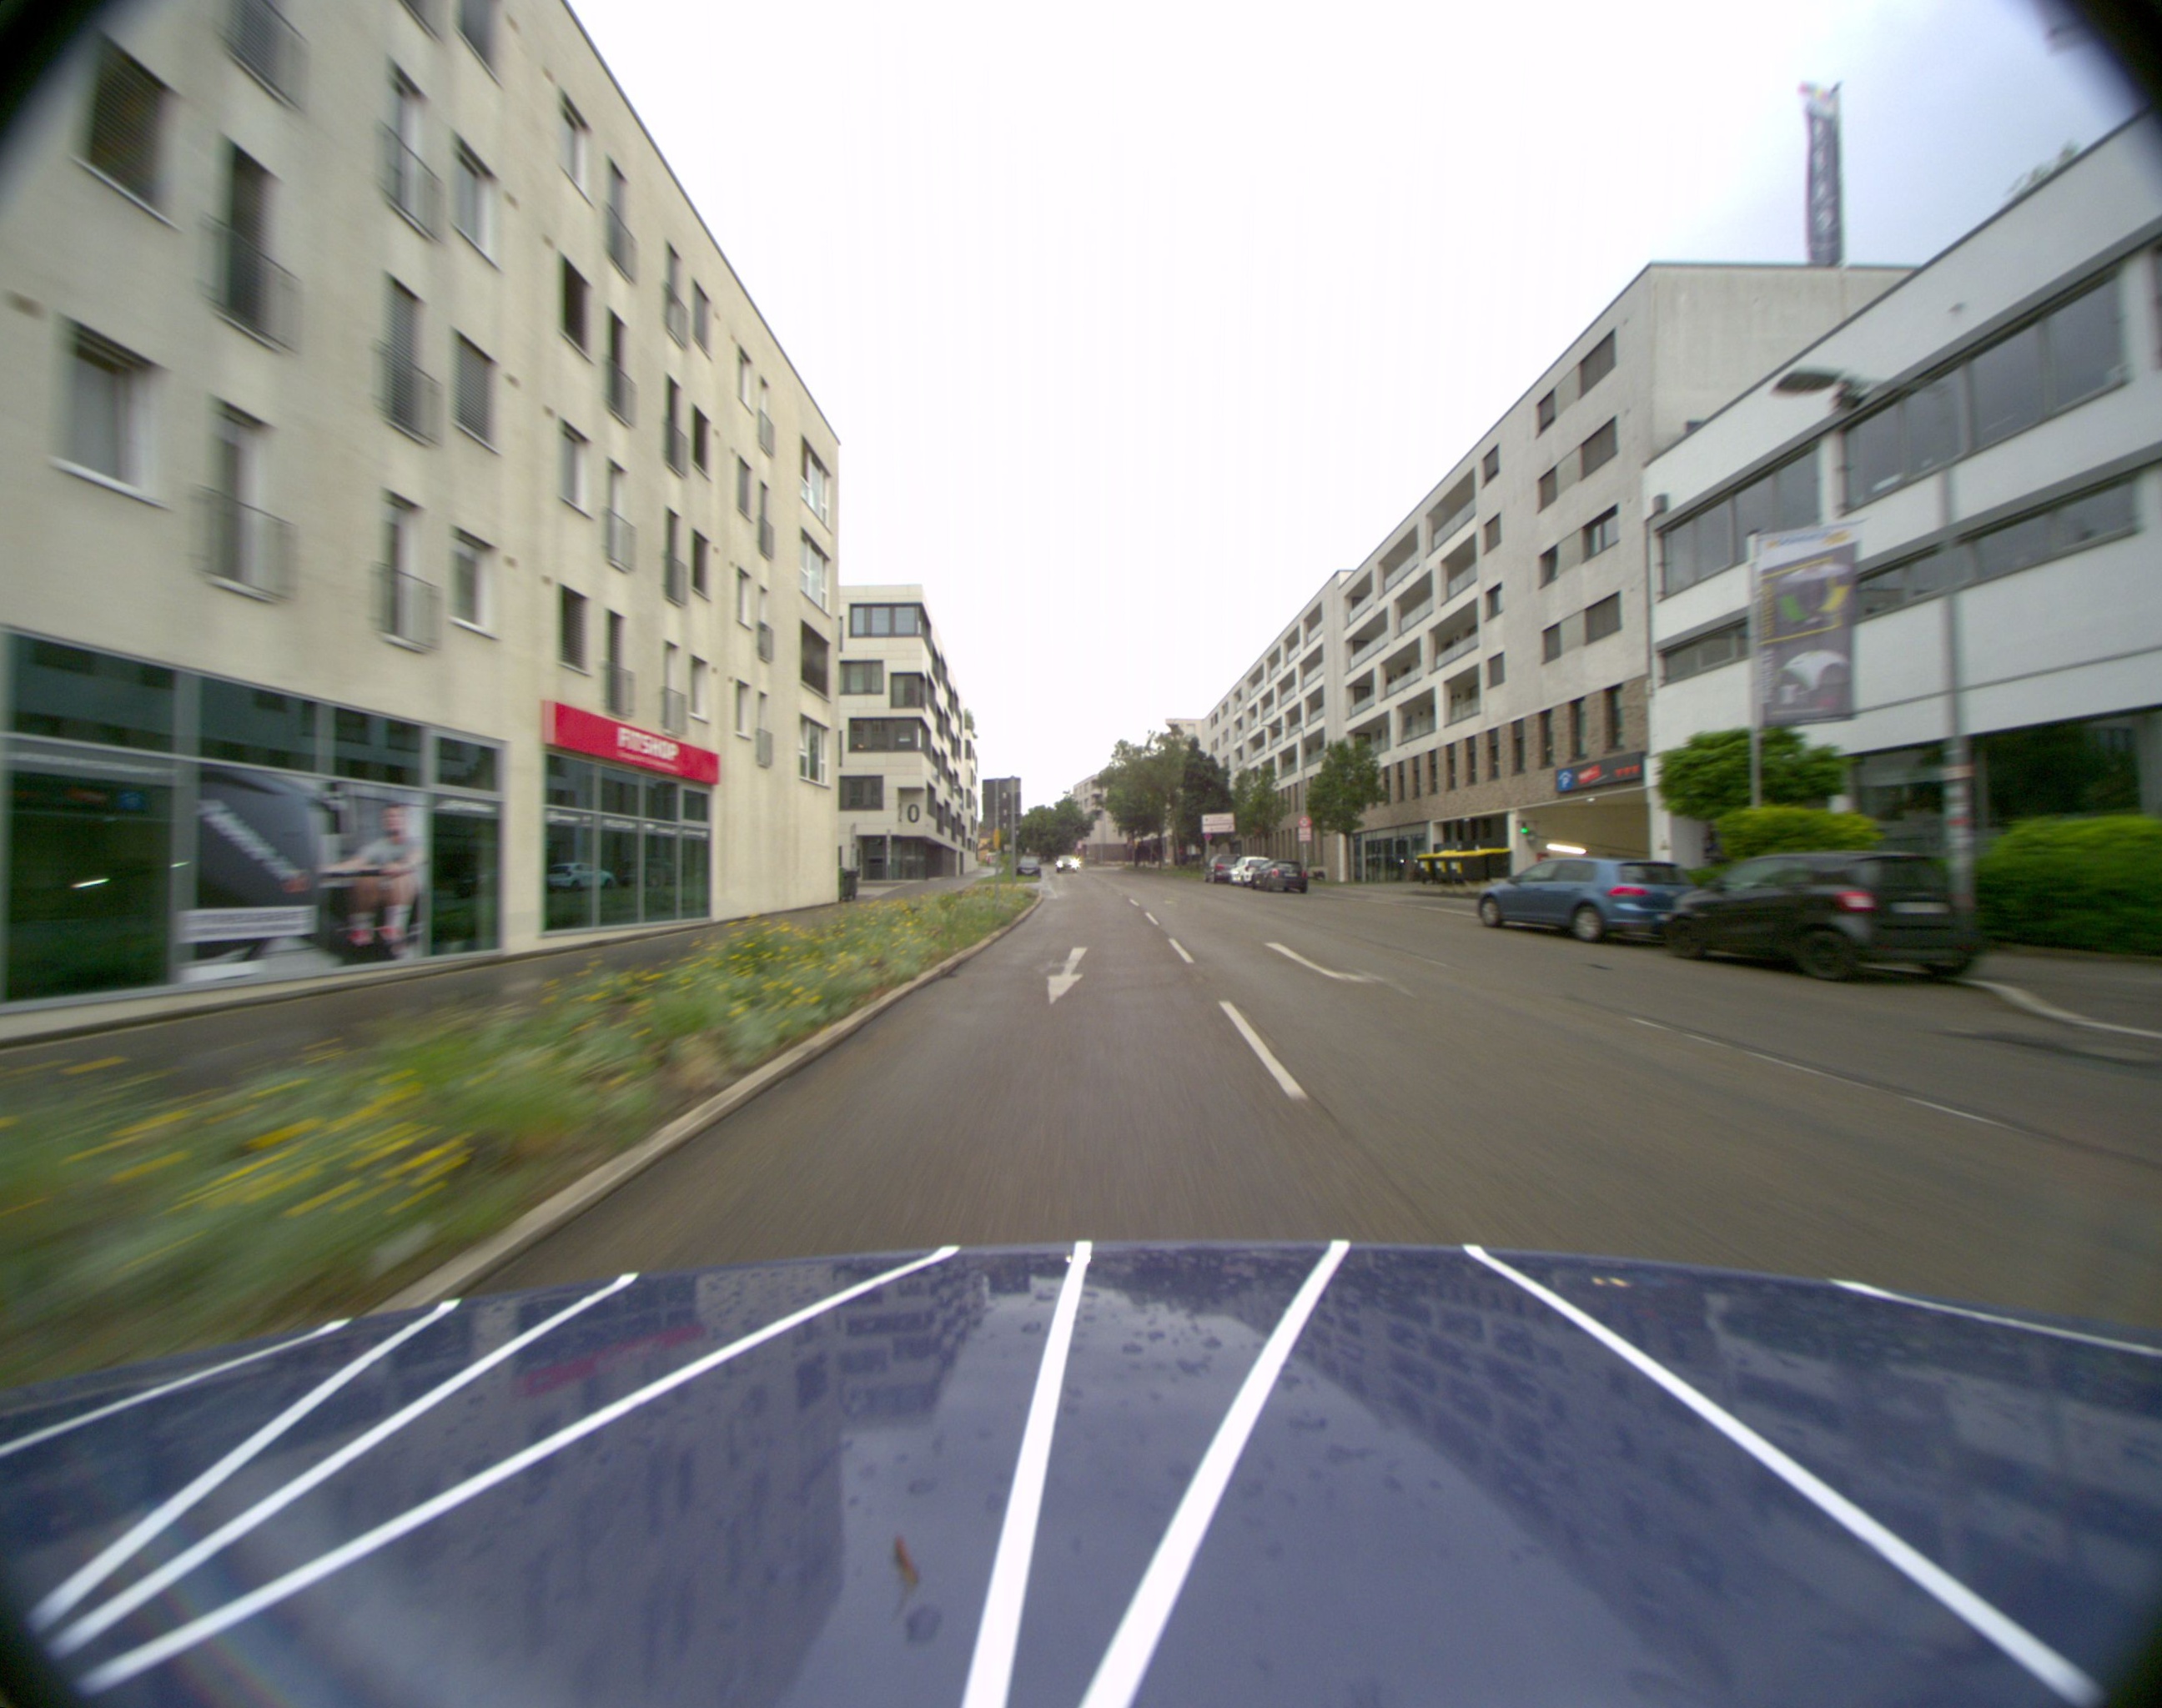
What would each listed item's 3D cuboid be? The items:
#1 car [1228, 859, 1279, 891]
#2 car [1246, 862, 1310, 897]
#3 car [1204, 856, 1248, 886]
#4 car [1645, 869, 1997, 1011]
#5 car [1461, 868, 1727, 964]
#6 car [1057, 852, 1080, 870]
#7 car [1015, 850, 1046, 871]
[{"bbox_3d":[8.657,1.031,38.295,1.597,1.459,3.421,2,0,-2],"label":"car"},{"bbox_3d":[8.679,1.072,33.718,1.662,1.383,3.738,1,0,-3],"label":"car"},{"bbox_3d":[8.237,0.941,43.382,1.630,1.608,3.972,2,0,-1],"label":"car"},{"bbox_3d":[9.345,0.991,9.925,1.519,1.501,2.980,2,0,-6],"label":"car"},{"bbox_3d":[9.046,1.005,13.922,1.661,1.395,4.267,1,0,-6],"label":"car"},{"bbox_3d":[-1.188,0.678,72.776,1.998,1.565,4.000,-2,0,1],"label":"car"},{"bbox_3d":[-3.892,0.502,58.951,1.998,1.477,4.000,-2,0,1],"label":"car"}]
